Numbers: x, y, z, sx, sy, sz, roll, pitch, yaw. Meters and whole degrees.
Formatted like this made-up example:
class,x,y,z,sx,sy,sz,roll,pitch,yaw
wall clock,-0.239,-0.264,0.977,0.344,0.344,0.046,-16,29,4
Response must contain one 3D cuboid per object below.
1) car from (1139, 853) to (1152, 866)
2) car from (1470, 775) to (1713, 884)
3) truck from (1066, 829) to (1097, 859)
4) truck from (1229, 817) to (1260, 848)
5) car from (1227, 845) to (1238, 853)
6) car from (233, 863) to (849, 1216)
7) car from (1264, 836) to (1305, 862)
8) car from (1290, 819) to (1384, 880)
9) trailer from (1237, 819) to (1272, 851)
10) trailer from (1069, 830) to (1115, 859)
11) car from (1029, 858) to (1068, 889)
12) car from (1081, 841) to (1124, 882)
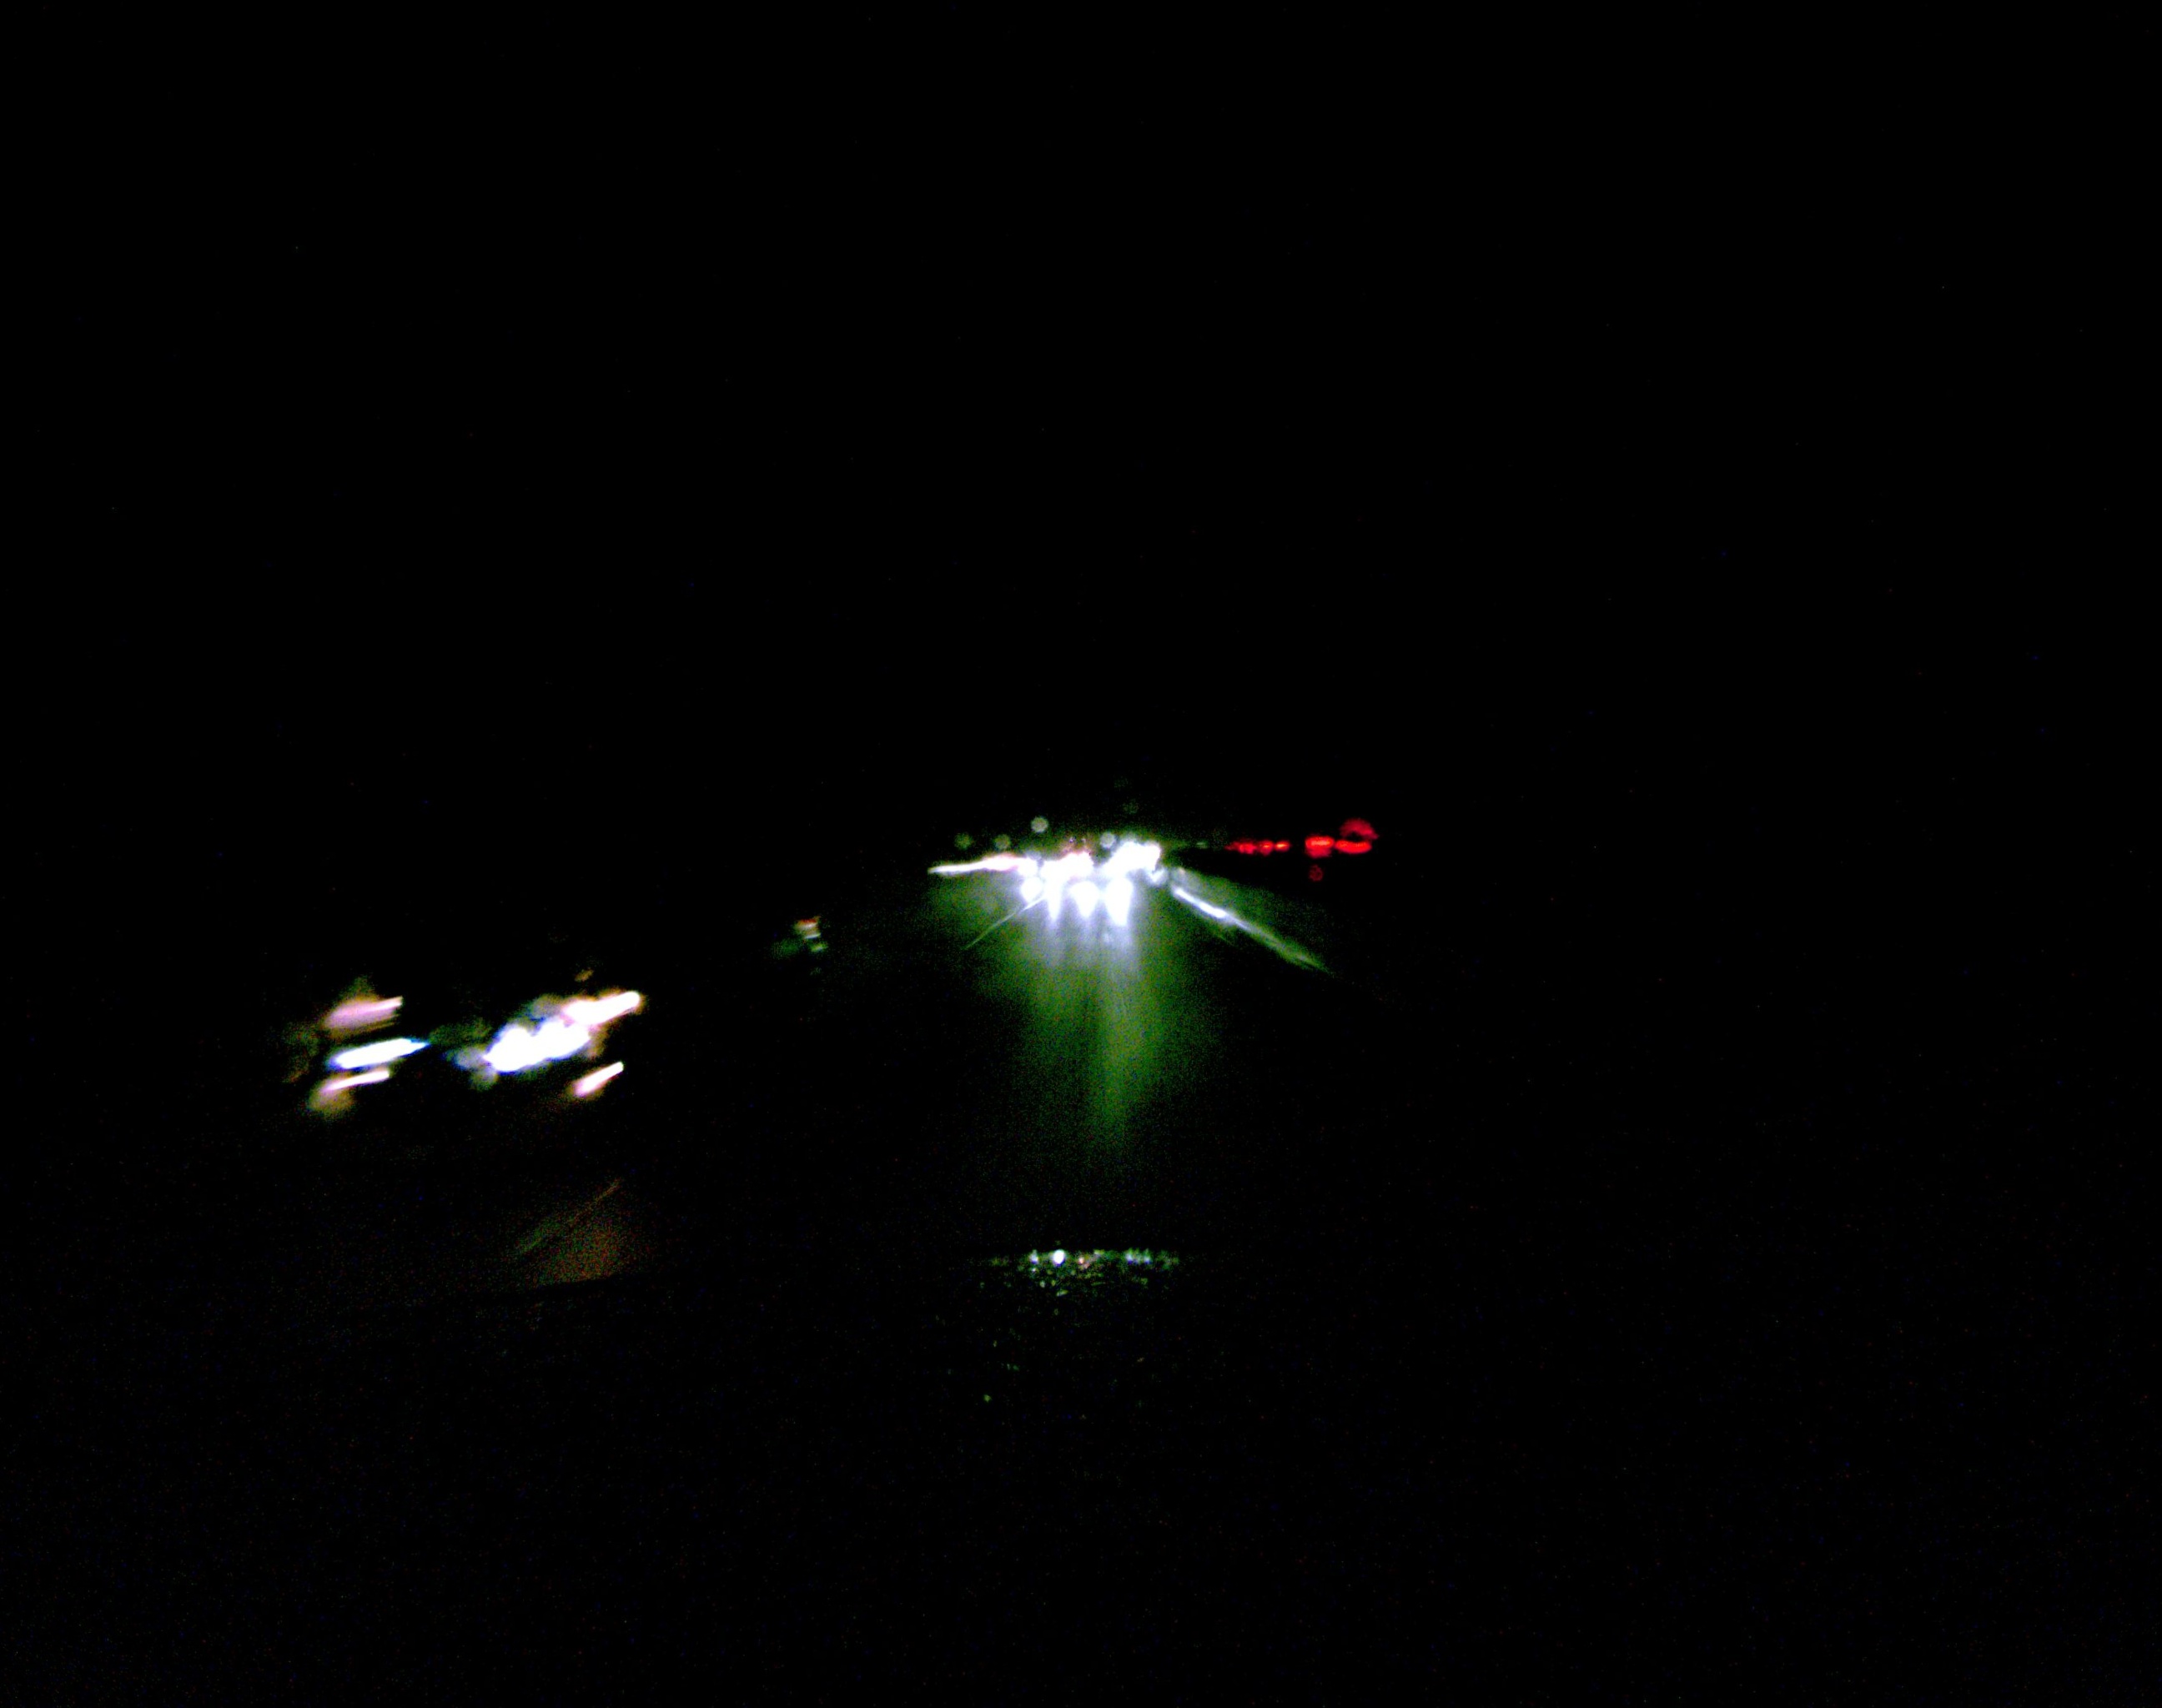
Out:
class,x,y,z,sx,sy,sz,roll,pitch,yaw
car,10.641,0.907,125.339,1.998,1.802,4.002,-7,-1,5
car,9.672,-0.382,14.886,1.998,1.625,4.001,-7,-1,2
truck,0.150,-1.445,111.731,2.780,3.945,5.204,-7,-1,17
truck,24.261,-3.098,113.471,2.954,4.012,10.658,-7,-1,6
car,36.654,-1.194,183.943,1.998,1.674,4.002,-7,-1,6
car,-3.315,0.941,5.910,1.805,1.608,4.255,-3,0,-3
car,15.373,-0.339,57.525,1.998,1.654,4.001,-7,-1,2
car,9.985,-0.122,30.104,1.998,2.001,5.190,-7,-1,3
trailer,23.463,-2.527,103.382,2.934,3.726,9.504,-7,-1,4
trailer,1.888,-1.503,116.137,2.744,3.954,13.835,-7,-1,17
car,-1.924,1.152,45.707,1.847,1.614,3.680,-6,-1,3
car,1.147,0.460,42.038,1.999,2.001,4.000,-5,-1,-2
